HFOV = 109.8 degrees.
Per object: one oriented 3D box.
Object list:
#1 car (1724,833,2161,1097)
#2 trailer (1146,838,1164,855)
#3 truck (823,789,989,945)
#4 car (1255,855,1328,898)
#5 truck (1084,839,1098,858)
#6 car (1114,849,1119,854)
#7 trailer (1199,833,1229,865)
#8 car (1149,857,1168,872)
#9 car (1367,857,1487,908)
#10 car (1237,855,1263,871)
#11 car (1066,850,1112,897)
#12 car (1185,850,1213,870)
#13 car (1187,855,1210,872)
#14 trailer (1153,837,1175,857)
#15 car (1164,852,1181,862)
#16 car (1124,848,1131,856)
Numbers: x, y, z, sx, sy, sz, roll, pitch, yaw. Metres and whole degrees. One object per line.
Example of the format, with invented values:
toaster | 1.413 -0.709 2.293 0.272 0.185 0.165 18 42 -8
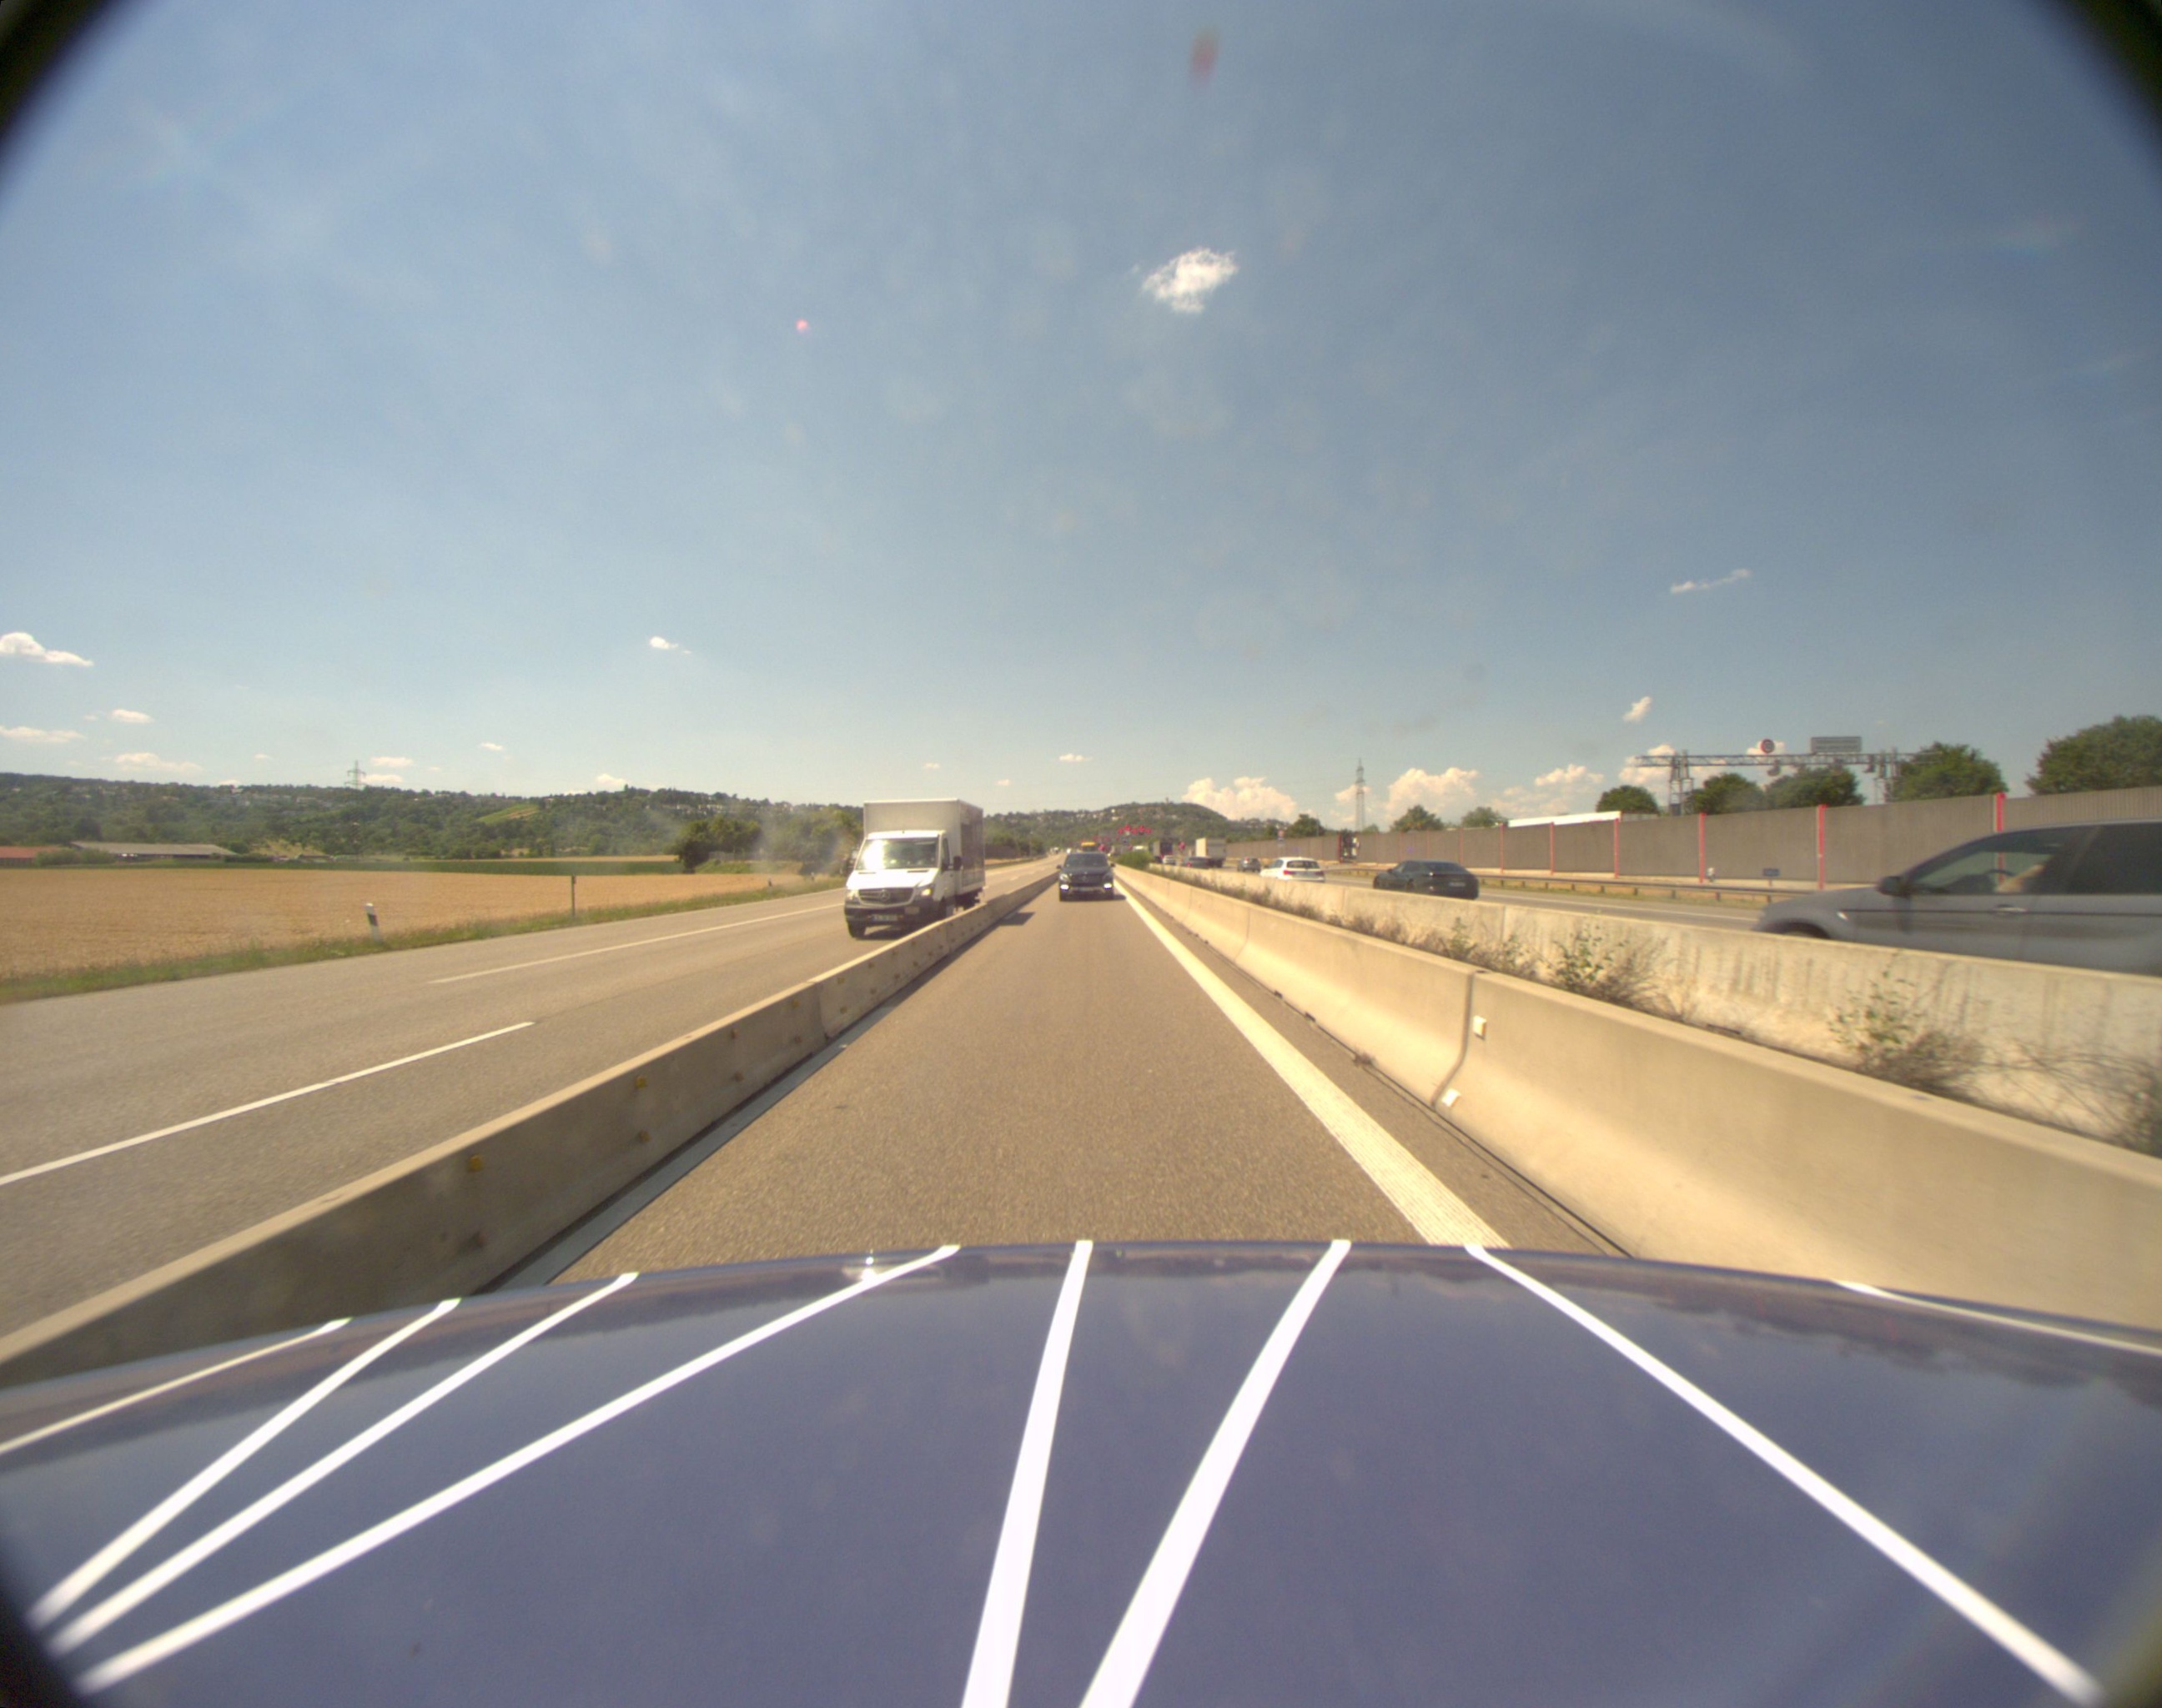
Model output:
car | 7.596 0.665 5.462 1.895 1.608 4.820 -1 0 1
trailer | 18.556 -1.818 191.951 3.263 4.033 14.388 -2 1 1
truck | -3.914 0.290 18.606 2.326 3.049 6.752 -2 -1 1
car | 8.299 0.816 30.286 1.679 1.510 4.507 -1 1 1
truck | 1.788 -0.964 131.249 2.272 3.139 8.186 -2 1 1
car | 9.971 -0.660 213.610 1.515 1.530 3.183 -1 1 1
trailer | 16.707 -0.660 95.630 2.654 3.851 6.616 0 1 1
car | 9.487 1.272 93.428 1.998 1.749 4.644 -1 0 1
car | 11.551 0.882 25.810 1.816 1.477 4.963 2 0 1
car | 16.478 0.842 74.384 1.659 1.510 4.000 0 1 1
car | 0.347 0.744 30.221 1.630 1.711 3.865 -2 -1 1
car | 9.451 0.491 61.145 1.659 1.510 4.000 -1 1 1
car | 12.917 1.046 83.862 1.998 1.749 4.000 -1 0 1
trailer | 17.386 -1.466 159.514 2.991 4.043 15.162 -1 1 1
car | 13.679 0.444 113.666 1.795 1.422 5.104 -2 1 0
car | 11.021 -0.463 180.119 1.654 1.694 3.741 -1 1 1
